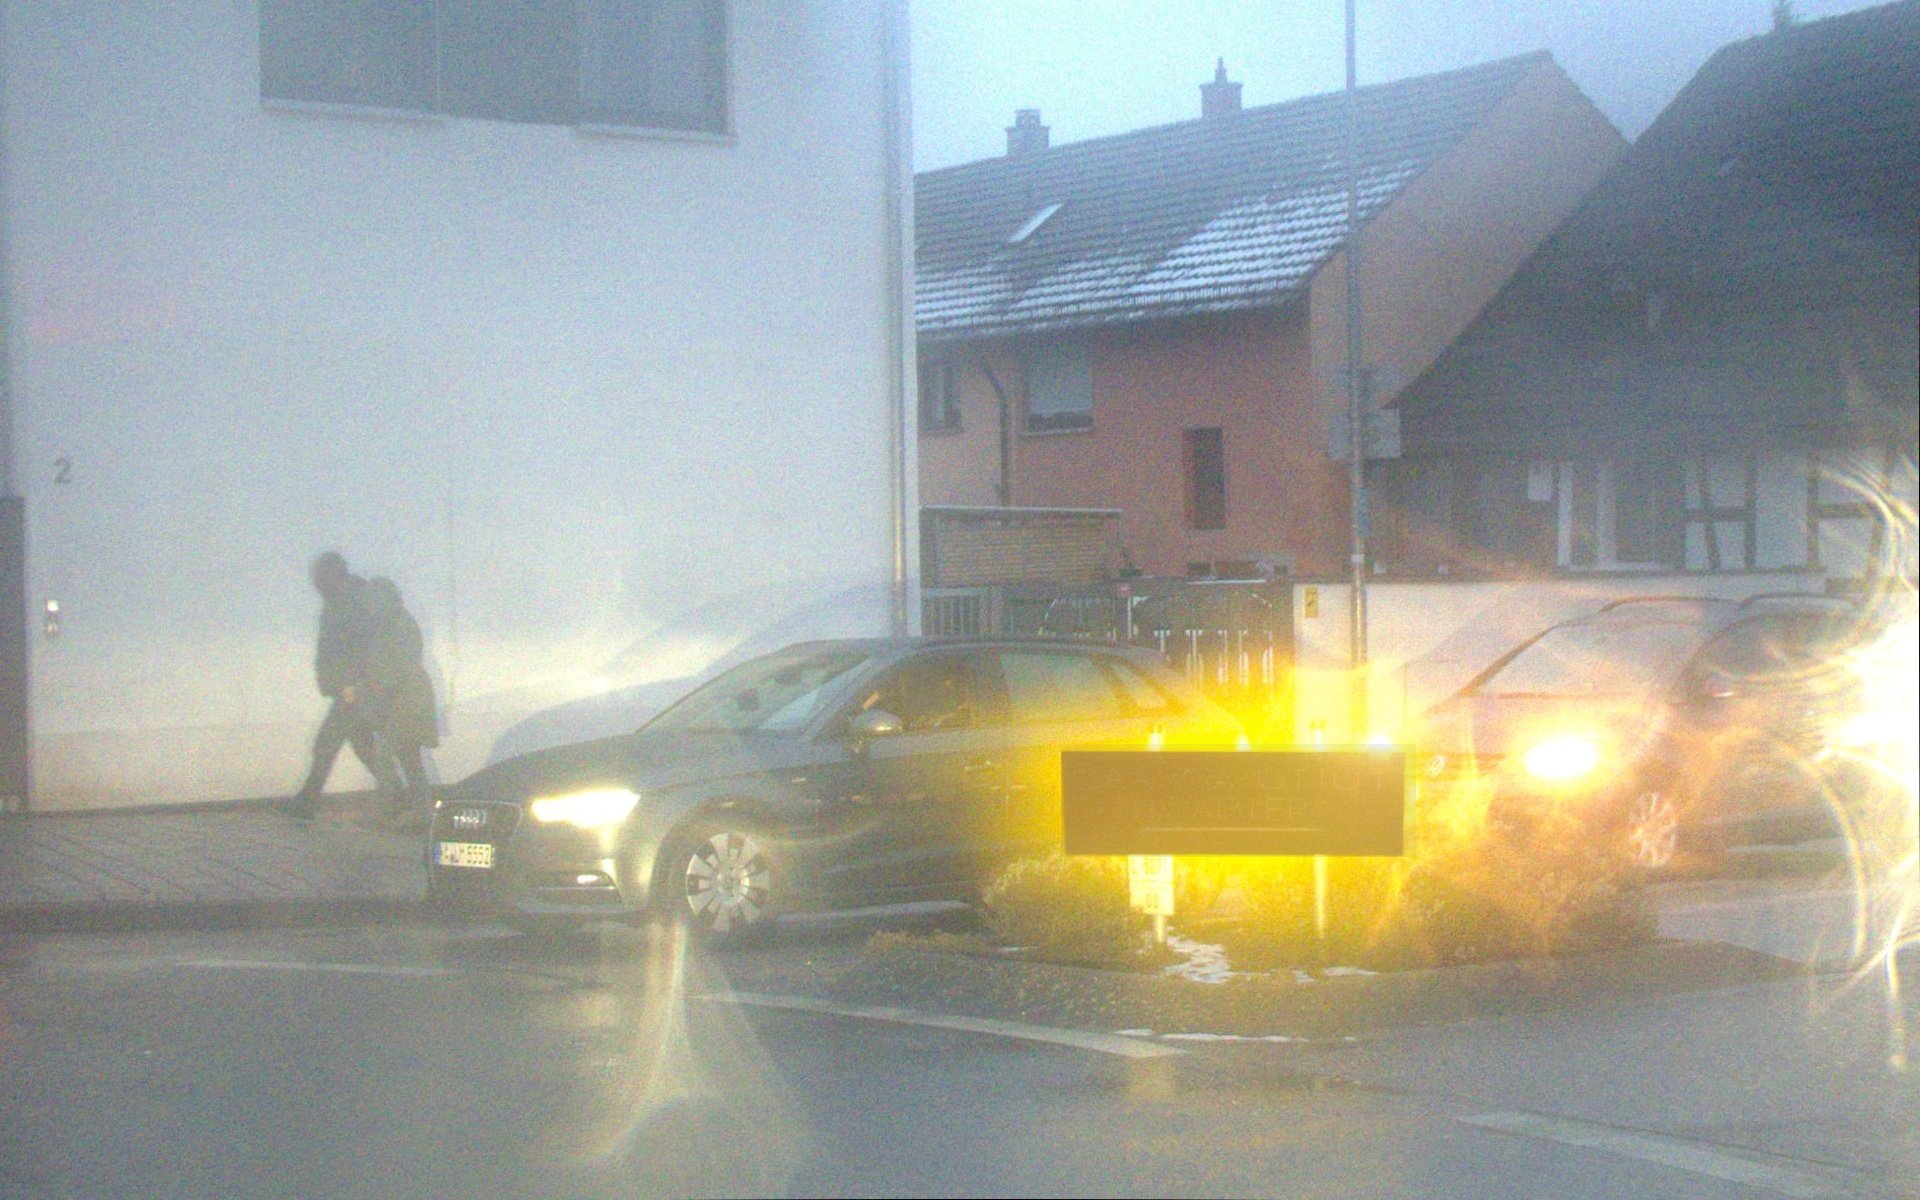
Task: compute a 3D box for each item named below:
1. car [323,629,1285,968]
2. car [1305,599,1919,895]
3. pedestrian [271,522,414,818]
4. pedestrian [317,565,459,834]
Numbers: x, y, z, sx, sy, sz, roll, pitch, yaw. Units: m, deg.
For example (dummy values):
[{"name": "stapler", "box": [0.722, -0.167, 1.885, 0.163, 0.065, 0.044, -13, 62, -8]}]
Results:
[{"name": "car", "box": [-0.675, 0.869, 16.340, 4.221, 1.379, 1.850, 0, -2, -36]}, {"name": "car", "box": [4.024, 0.774, 19.854, 3.988, 1.547, 1.696, 0, -1, -38]}, {"name": "pedestrian", "box": [-3.914, 0.431, 21.782, 0.715, 1.825, 0.637, 0, 2, -27]}, {"name": "pedestrian", "box": [-3.514, 0.594, 21.116, 0.715, 1.616, 0.582, 0, 1, -27]}]
